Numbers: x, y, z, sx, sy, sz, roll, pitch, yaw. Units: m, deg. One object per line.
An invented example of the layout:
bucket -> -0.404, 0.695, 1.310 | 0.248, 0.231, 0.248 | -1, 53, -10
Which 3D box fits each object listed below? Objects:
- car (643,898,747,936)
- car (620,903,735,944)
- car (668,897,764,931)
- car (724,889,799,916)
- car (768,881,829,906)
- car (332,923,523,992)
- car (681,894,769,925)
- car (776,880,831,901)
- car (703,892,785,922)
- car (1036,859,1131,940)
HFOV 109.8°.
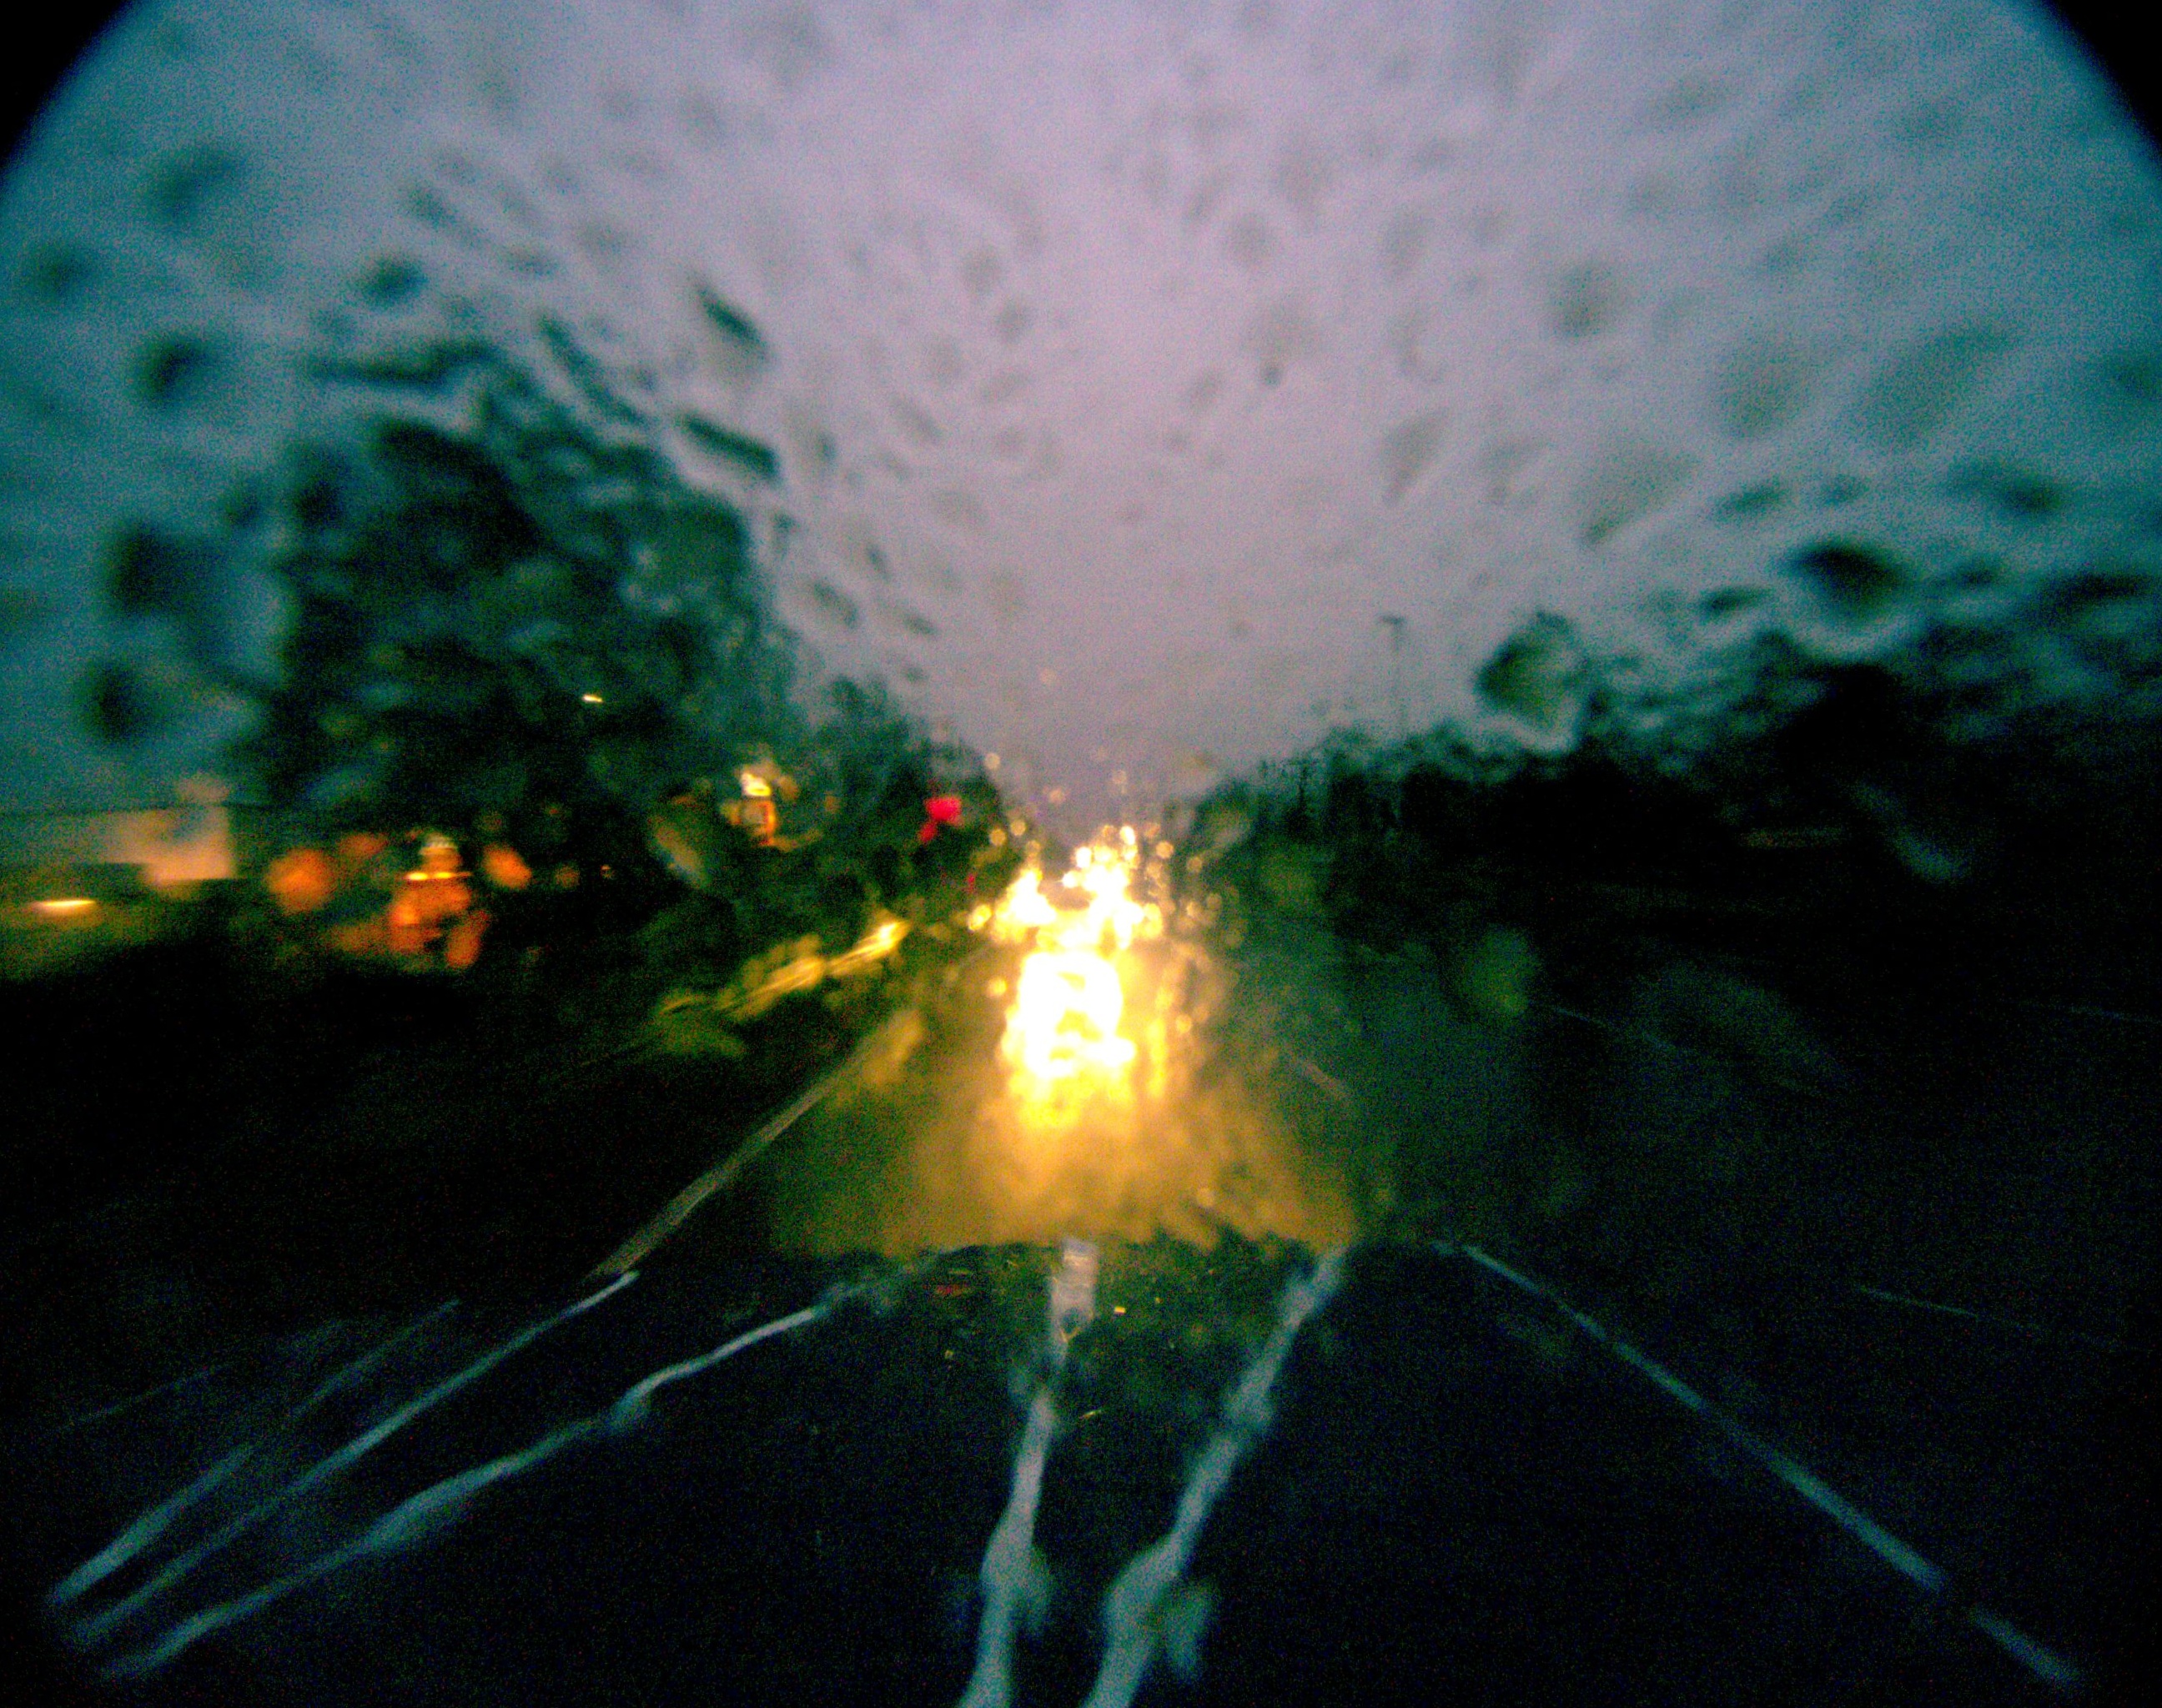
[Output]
car -> -18.128, 2.938, 35.867 | 4.014, 1.483, 1.713 | -2, 1, -11
car -> -17.352, 2.973, 32.872 | 4.014, 1.404, 1.713 | -2, 1, -11
car -> -18.366, 3.002, 38.439 | 4.014, 1.424, 1.713 | -2, 1, -11
car -> -19.864, 3.009, 47.405 | 4.014, 1.404, 1.713 | -2, 1, -10
car -> -21.418, 2.967, 57.649 | 4.014, 1.588, 1.805 | -2, 1, -10
car -> -18.749, 2.949, 21.919 | 4.010, 1.632, 1.715 | -2, 1, 1
car -> -19.418, 3.019, 41.610 | 4.014, 1.404, 1.713 | -2, 1, -10
car -> -23.155, 3.050, 63.466 | 4.014, 1.523, 1.713 | -2, 1, -10
car -> -19.477, 3.058, 44.099 | 4.014, 1.404, 1.713 | -2, 1, -10
car -> -0.065, 0.954, 17.899 | 1.810, 1.453, 4.243 | -5, 1, -4
